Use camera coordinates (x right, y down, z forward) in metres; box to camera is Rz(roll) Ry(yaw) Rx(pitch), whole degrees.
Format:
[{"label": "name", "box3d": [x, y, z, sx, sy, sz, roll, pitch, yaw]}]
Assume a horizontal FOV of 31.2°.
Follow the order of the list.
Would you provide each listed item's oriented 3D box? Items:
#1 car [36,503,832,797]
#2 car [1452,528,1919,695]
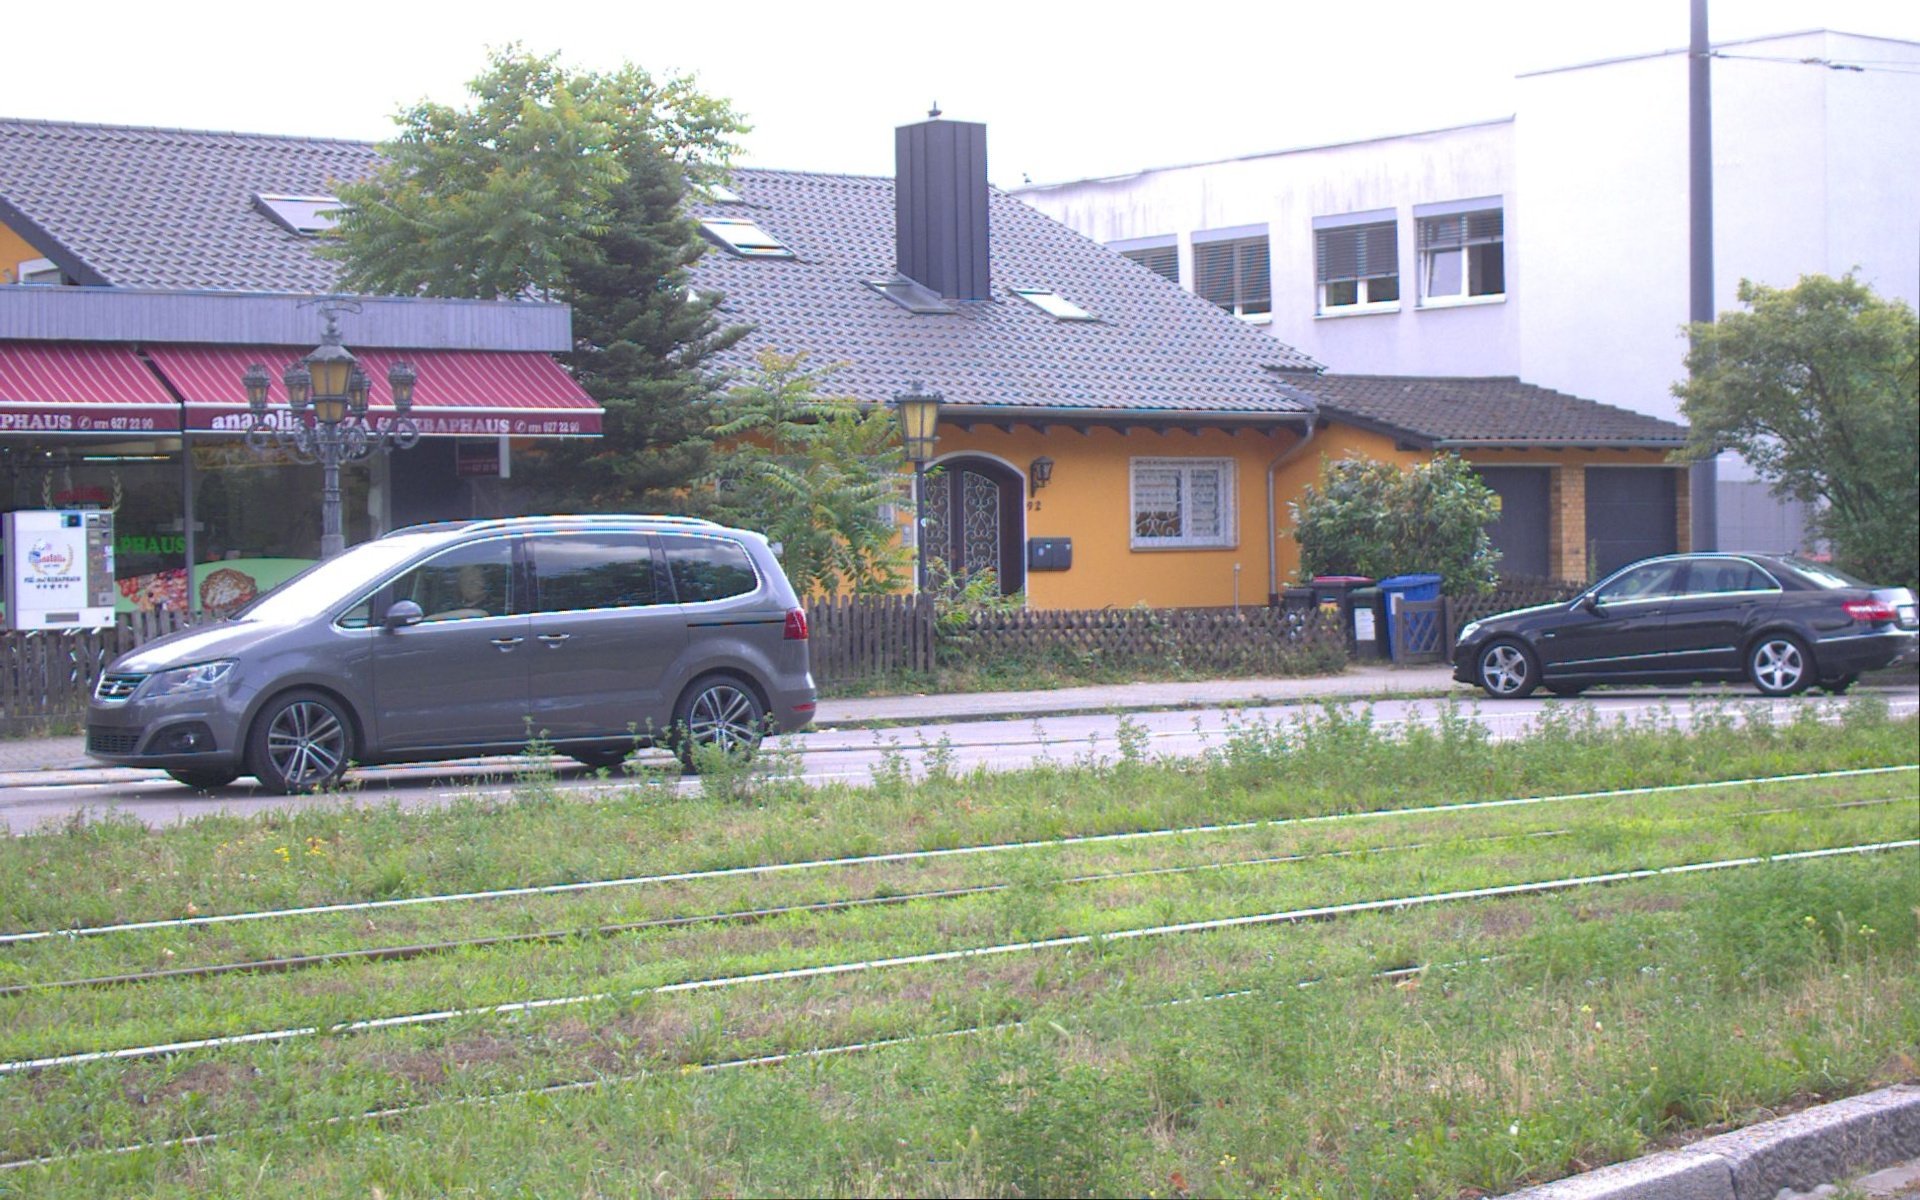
[{"label": "car", "box3d": [-3.396, 0.255, 22.512, 4.725, 1.716, 2.000, -1, 1, -32]}, {"label": "car", "box3d": [7.544, 0.120, 34.964, 4.573, 1.575, 1.997, -1, 1, 32]}]
